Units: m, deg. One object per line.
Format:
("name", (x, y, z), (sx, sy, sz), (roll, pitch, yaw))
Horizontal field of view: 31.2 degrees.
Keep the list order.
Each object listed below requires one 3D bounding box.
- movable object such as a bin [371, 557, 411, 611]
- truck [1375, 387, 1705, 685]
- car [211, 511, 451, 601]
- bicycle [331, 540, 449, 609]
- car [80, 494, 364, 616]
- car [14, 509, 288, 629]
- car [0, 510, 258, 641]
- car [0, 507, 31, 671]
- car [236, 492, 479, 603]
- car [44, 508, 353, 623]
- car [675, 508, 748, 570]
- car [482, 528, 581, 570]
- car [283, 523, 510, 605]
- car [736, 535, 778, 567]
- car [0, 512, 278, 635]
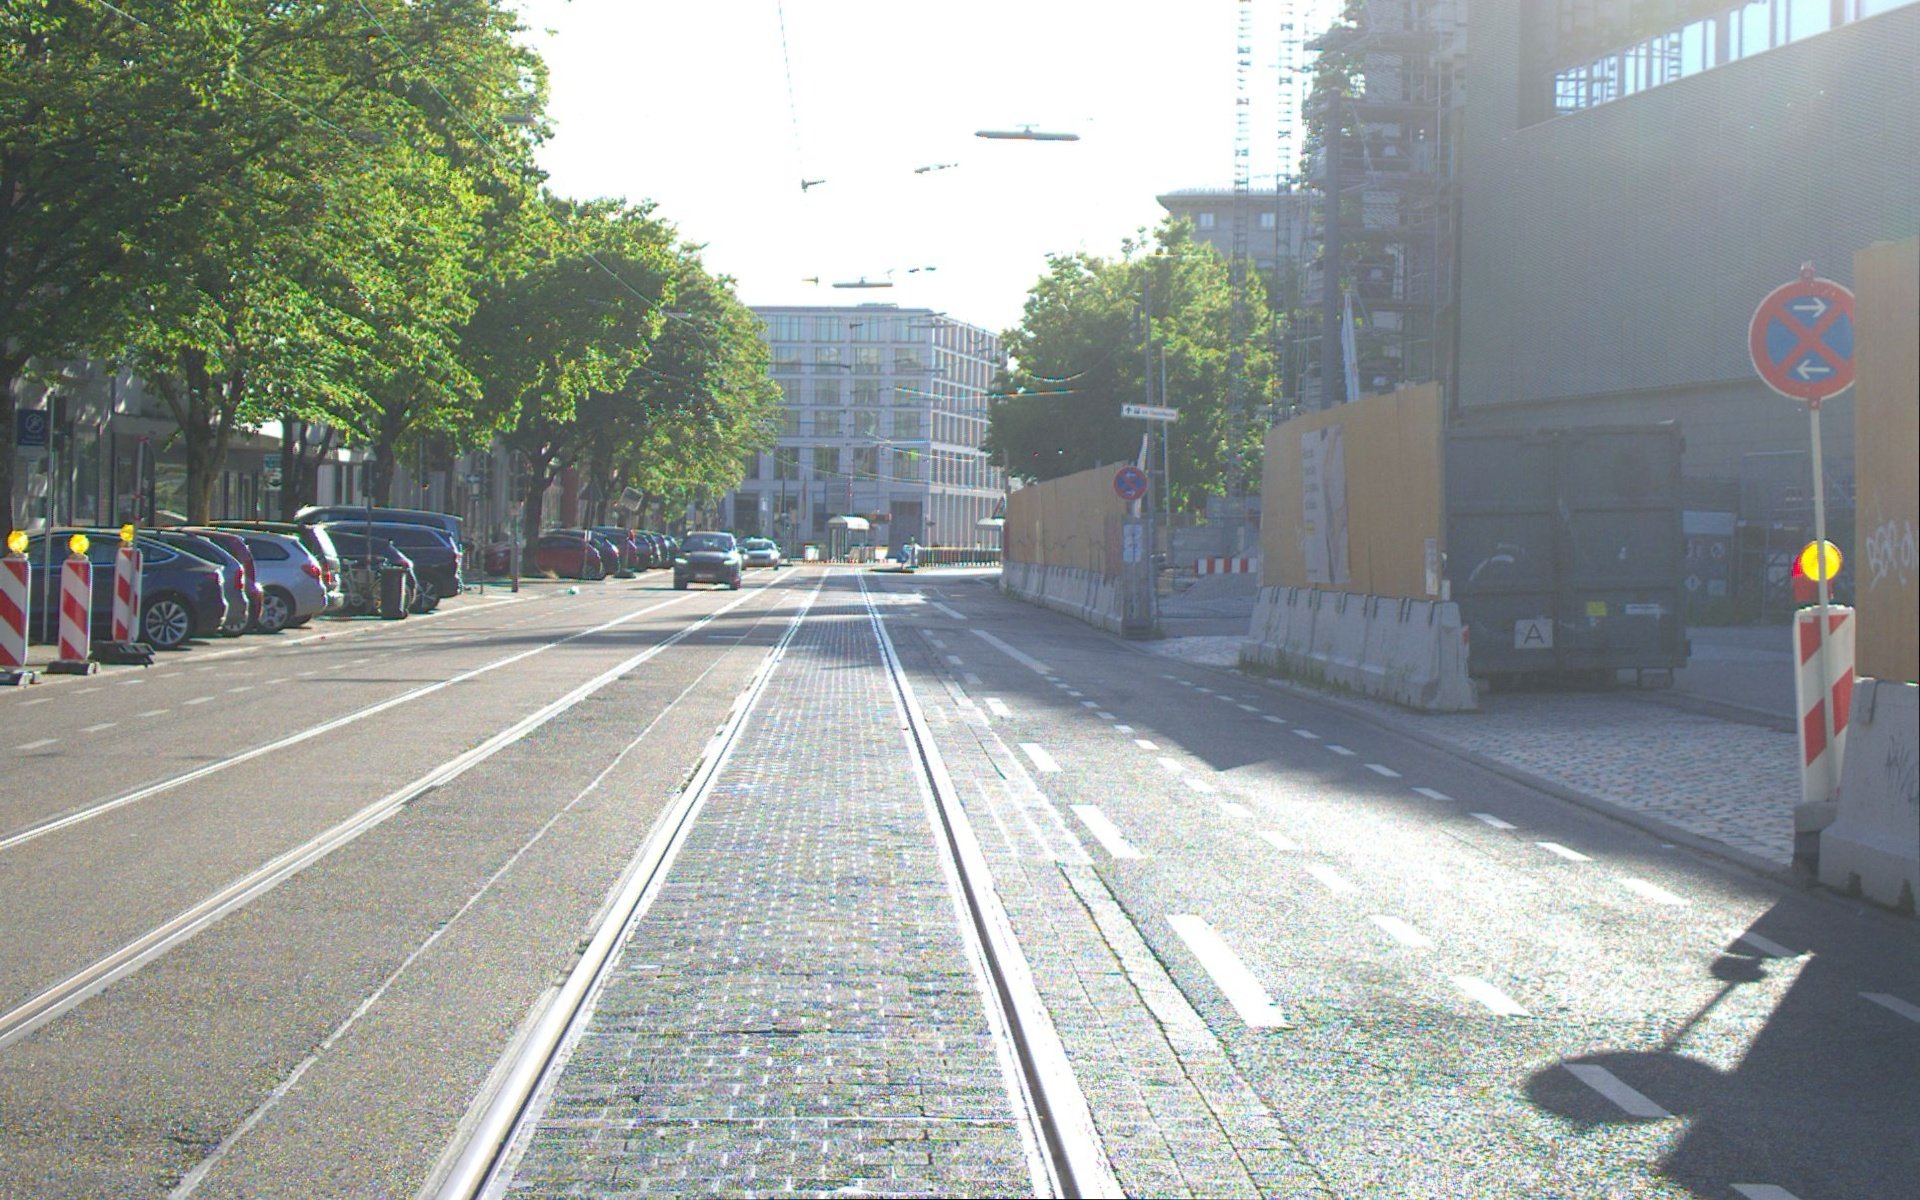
("movable object such as a bin", (-10.047, -0.280, 60.704), (0.575, 0.910, 0.575), (3, 2, -18))
("truck", (6.134, -0.694, 37.123), (2.519, 2.899, 5.507), (-2, 1, 0))
("car", (-12.014, -0.849, 65.647), (4.234, 1.679, 1.811), (0, 1, -22))
("bicycle", (-10.200, -0.449, 61.526), (1.965, 1.140, 0.493), (2, 1, -20))
("car", (-11.692, -0.721, 54.674), (4.103, 1.672, 1.841), (3, 1, -4))
("car", (-11.368, -0.433, 48.321), (3.362, 1.488, 1.613), (2, 1, -30))
("car", (-11.112, -0.333, 42.877), (4.188, 1.486, 1.944), (2, 1, -28))
("car", (-11.012, -0.184, 33.206), (3.612, 1.548, 1.669), (2, 2, -28))
("car", (-11.958, -1.048, 68.220), (4.353, 1.979, 1.950), (2, 1, -23))
("car", (-11.340, -0.517, 51.222), (4.103, 1.507, 1.841), (2, 1, -28))
("car", (-7.144, -1.779, 99.055), (1.927, 1.624, 4.250), (-2, 2, -3))
("car", (-13.795, -1.643, 110.640), (2.933, 1.327, 1.216), (-1, 1, -29))
("car", (-10.389, -0.673, 63.335), (3.855, 1.471, 1.844), (0, 1, -19))
("car", (-9.502, -2.315, 161.140), (1.709, 1.431, 4.171), (1, 1, 0))
("car", (-11.109, -0.355, 45.475), (3.672, 1.465, 1.753), (2, 1, -30))
